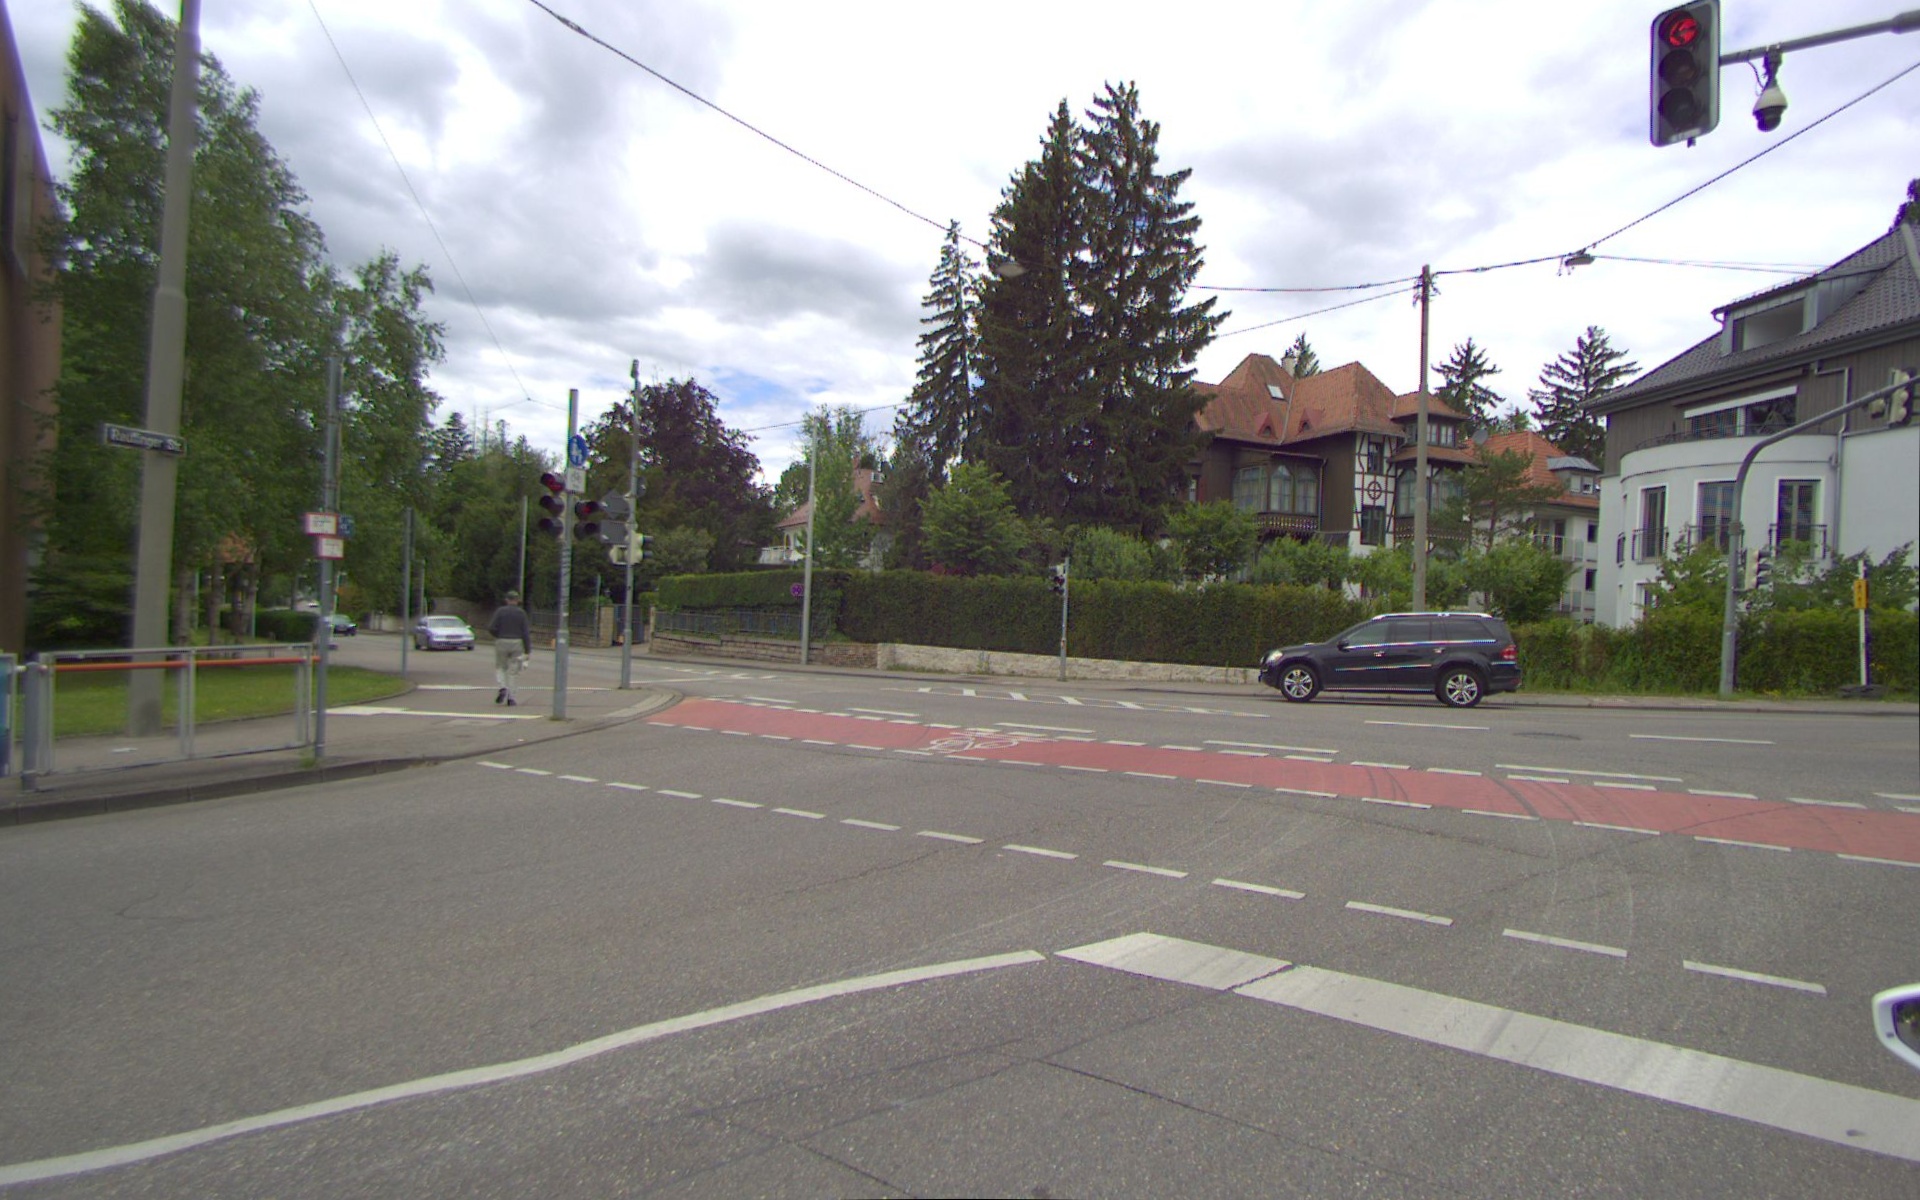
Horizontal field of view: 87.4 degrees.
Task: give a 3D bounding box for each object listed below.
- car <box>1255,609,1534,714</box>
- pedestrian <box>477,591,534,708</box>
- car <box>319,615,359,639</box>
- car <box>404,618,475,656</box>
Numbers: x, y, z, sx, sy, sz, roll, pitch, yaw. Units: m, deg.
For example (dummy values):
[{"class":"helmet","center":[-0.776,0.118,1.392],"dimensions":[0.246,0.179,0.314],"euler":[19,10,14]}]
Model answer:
[{"class":"car","center":[8.775,1.198,20.691],"dimensions":[5.041,1.905,1.919],"euler":[1,-2,21]},{"class":"pedestrian","center":[-6.636,0.707,14.690],"dimensions":[0.673,1.655,0.737],"euler":[0,-1,-19]},{"class":"car","center":[-42.488,1.848,68.691],"dimensions":[1.816,1.556,3.955],"euler":[2,-2,-39]},{"class":"car","center":[-21.987,1.529,42.331],"dimensions":[1.696,1.432,4.373],"euler":[1,0,-41]}]
